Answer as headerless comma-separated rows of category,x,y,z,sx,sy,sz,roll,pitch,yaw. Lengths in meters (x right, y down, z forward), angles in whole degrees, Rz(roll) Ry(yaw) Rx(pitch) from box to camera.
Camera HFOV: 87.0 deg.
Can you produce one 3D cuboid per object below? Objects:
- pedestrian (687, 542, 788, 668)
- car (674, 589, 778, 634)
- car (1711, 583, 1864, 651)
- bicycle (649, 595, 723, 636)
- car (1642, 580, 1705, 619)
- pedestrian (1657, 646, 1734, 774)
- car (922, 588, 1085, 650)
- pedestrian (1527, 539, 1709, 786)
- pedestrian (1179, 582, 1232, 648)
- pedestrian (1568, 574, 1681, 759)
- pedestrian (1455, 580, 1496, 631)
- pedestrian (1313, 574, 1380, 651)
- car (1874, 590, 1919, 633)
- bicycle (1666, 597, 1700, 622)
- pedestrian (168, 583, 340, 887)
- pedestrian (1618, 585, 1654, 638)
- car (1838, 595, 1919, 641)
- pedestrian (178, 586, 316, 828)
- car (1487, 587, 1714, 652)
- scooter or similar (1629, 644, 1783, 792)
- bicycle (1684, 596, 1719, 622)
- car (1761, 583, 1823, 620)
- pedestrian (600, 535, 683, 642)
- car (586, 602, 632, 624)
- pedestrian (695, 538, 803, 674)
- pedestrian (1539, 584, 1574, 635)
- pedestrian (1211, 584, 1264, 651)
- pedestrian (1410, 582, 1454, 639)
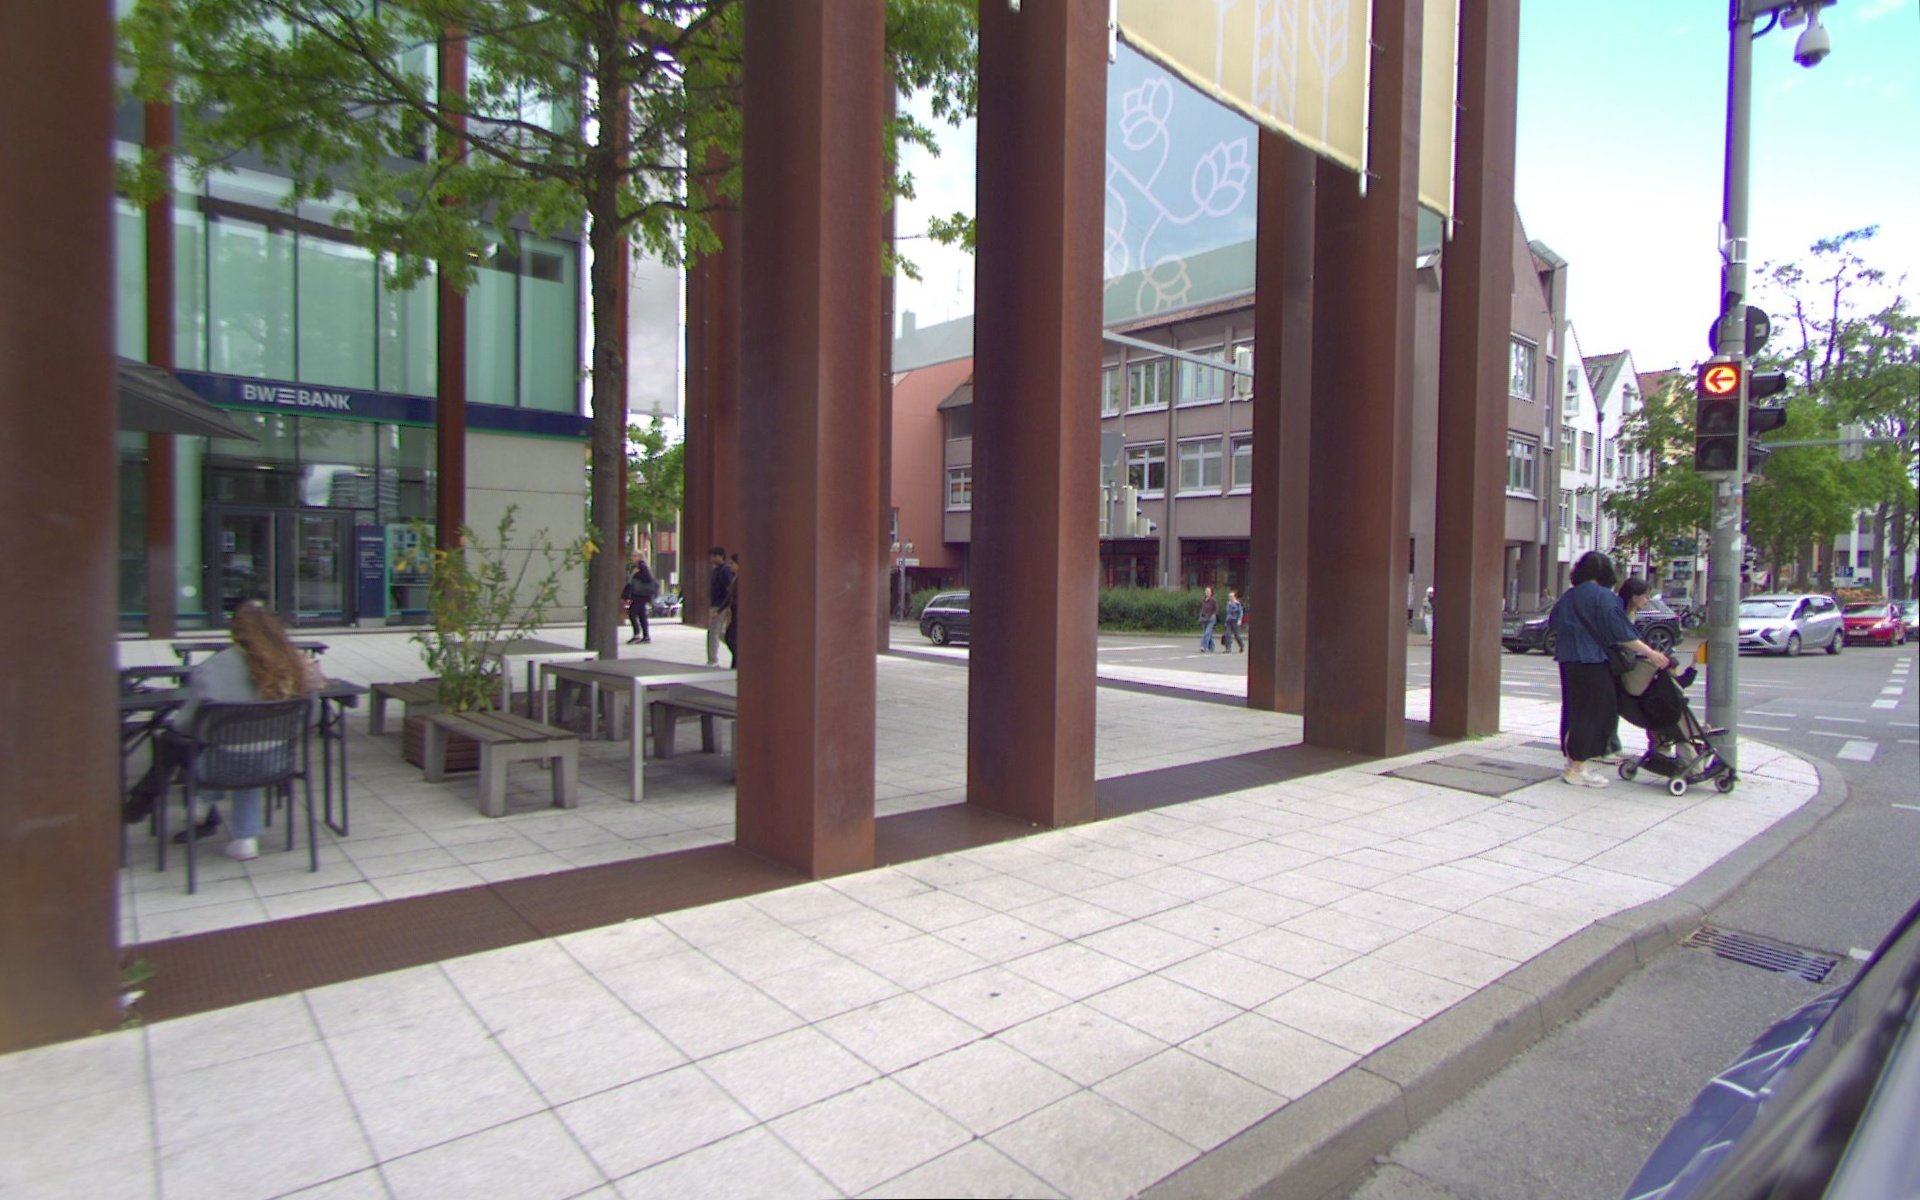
pedestrian,-3.150,0.052,14.322,1.101,1.702,0.880,0,1,-43
car,-8.680,0.380,37.339,1.770,1.506,4.564,0,1,-42
car,22.552,0.428,27.544,4.292,1.722,1.747,0,0,-29
bicycle,-7.890,0.423,29.175,1.957,1.115,0.720,0,1,-41
car,36.160,-0.035,51.245,4.189,1.826,1.737,0,2,-43
pedestrian,5.765,0.847,7.929,0.446,0.935,0.363,1,1,-38
car,1.034,0.426,25.931,1.770,1.422,4.178,0,1,-42
pedestrian,4.708,0.421,7.301,0.666,1.667,0.874,1,1,-6
pedestrian,6.127,0.354,25.275,1.040,1.604,0.831,0,1,-40
pedestrian,5.445,0.512,8.296,0.571,1.438,0.603,1,1,-38
pedestrian,16.704,0.166,32.772,1.020,1.615,0.823,0,1,-38
pedestrian,9.030,0.261,23.644,1.090,1.737,1.058,0,1,-41
car,36.378,0.419,38.635,3.931,1.549,1.799,0,0,-42
bicycle,32.409,0.400,45.397,0.399,1.061,1.569,1,1,2
pedestrian,-3.126,0.546,4.487,0.595,1.235,0.449,0,1,-37
pedestrian,21.539,0.352,32.238,0.937,1.646,0.742,0,1,-43
car,31.018,0.581,34.115,3.577,1.467,1.629,0,0,-40
pedestrian,-3.909,0.548,5.565,0.595,1.235,0.449,0,1,-36
car,16.679,0.488,26.503,4.767,1.629,1.858,0,0,-2
scooter or similar,5.373,0.830,7.317,0.608,0.973,0.636,1,1,-6
bicycle,32.985,0.396,45.030,0.399,1.061,1.569,1,1,2
car,46.486,0.023,56.508,4.673,1.899,1.997,-1,3,-43
pedestrian,-5.540,-0.211,17.612,1.101,1.789,0.880,0,1,-43
car,-23.466,0.874,67.658,1.694,1.412,3.736,2,-2,-39
pedestrian,-2.787,0.059,13.382,1.101,1.702,0.880,0,1,-43
pedestrian,19.746,0.294,33.498,0.937,1.646,0.742,0,1,-43
pedestrian,6.741,0.396,24.591,0.952,1.578,0.831,0,1,-41
pedestrian,13.933,0.299,29.891,1.075,1.646,0.809,0,1,-42
